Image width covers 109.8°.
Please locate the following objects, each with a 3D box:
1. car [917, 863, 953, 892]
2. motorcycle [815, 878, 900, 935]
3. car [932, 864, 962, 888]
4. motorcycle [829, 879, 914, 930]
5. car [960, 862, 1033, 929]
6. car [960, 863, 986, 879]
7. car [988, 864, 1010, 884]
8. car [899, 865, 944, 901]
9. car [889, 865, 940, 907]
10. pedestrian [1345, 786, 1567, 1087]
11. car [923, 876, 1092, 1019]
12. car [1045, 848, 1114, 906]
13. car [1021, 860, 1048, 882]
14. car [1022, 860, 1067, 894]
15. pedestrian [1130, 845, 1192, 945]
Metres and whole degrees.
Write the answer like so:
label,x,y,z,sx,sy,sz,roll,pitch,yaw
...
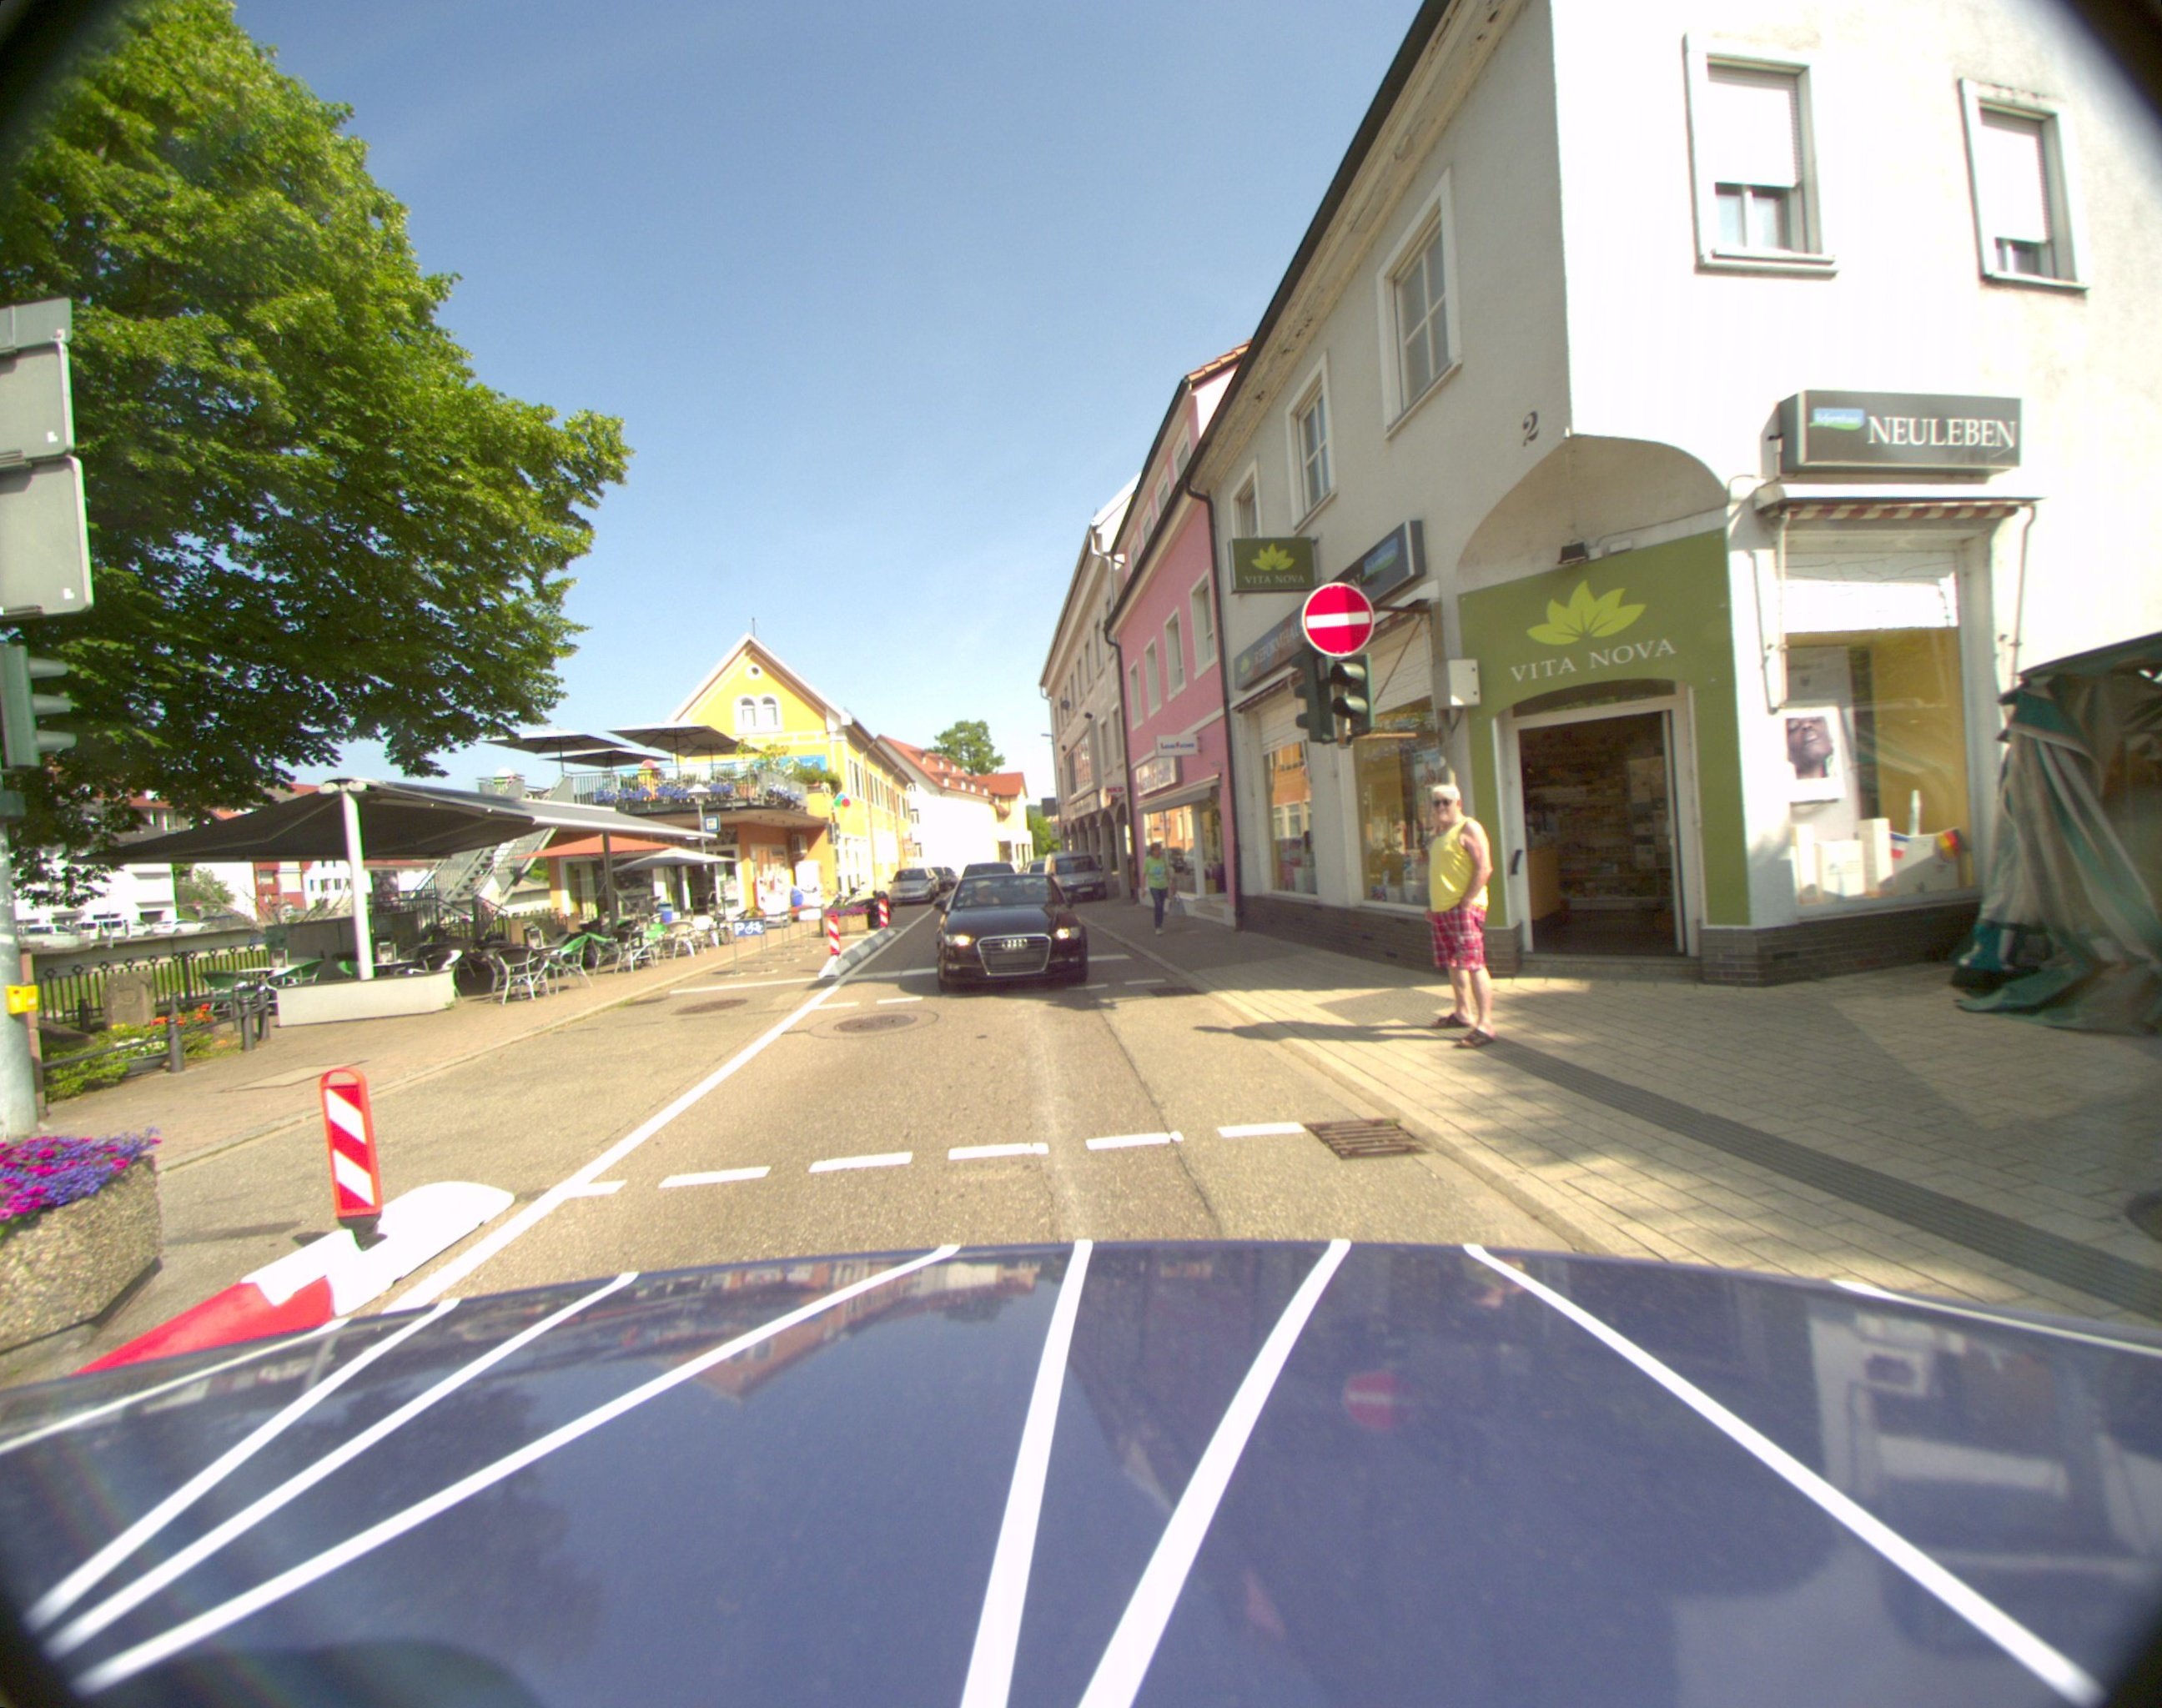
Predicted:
label,x,y,z,sx,sy,sz,roll,pitch,yaw
car,-8.919,1.412,46.762,1.684,1.636,4.249,-3,0,-6
motorcycle,-5.965,1.378,20.343,1.904,1.350,0.914,-4,0,-41
car,-9.245,1.481,52.586,1.684,1.531,4.184,-3,0,-6
motorcycle,-5.976,1.418,21.736,0.926,1.262,2.095,-3,0,44
car,-2.275,1.038,20.714,1.684,1.551,3.969,-4,0,-6
car,-10.227,1.589,71.936,1.527,1.236,4.035,-4,0,4
car,-7.006,1.677,65.304,1.683,1.551,3.341,-4,0,-4
car,-8.101,1.441,38.850,1.683,1.549,4.101,-4,0,-6
car,-7.374,1.367,33.977,1.751,1.587,4.591,-4,0,-8
pedestrian,2.593,0.523,5.232,1.019,1.805,0.908,-7,2,37
car,-0.984,1.065,10.286,1.756,1.348,4.198,-3,0,-6
car,-0.140,0.762,26.680,1.712,1.729,4.143,-6,0,-8
car,-3.513,1.252,57.136,1.770,1.551,3.969,-4,0,-6
car,-1.873,1.099,37.732,1.808,1.461,4.452,-4,0,-6
pedestrian,1.399,0.704,13.468,0.788,1.622,0.858,-6,1,-5
